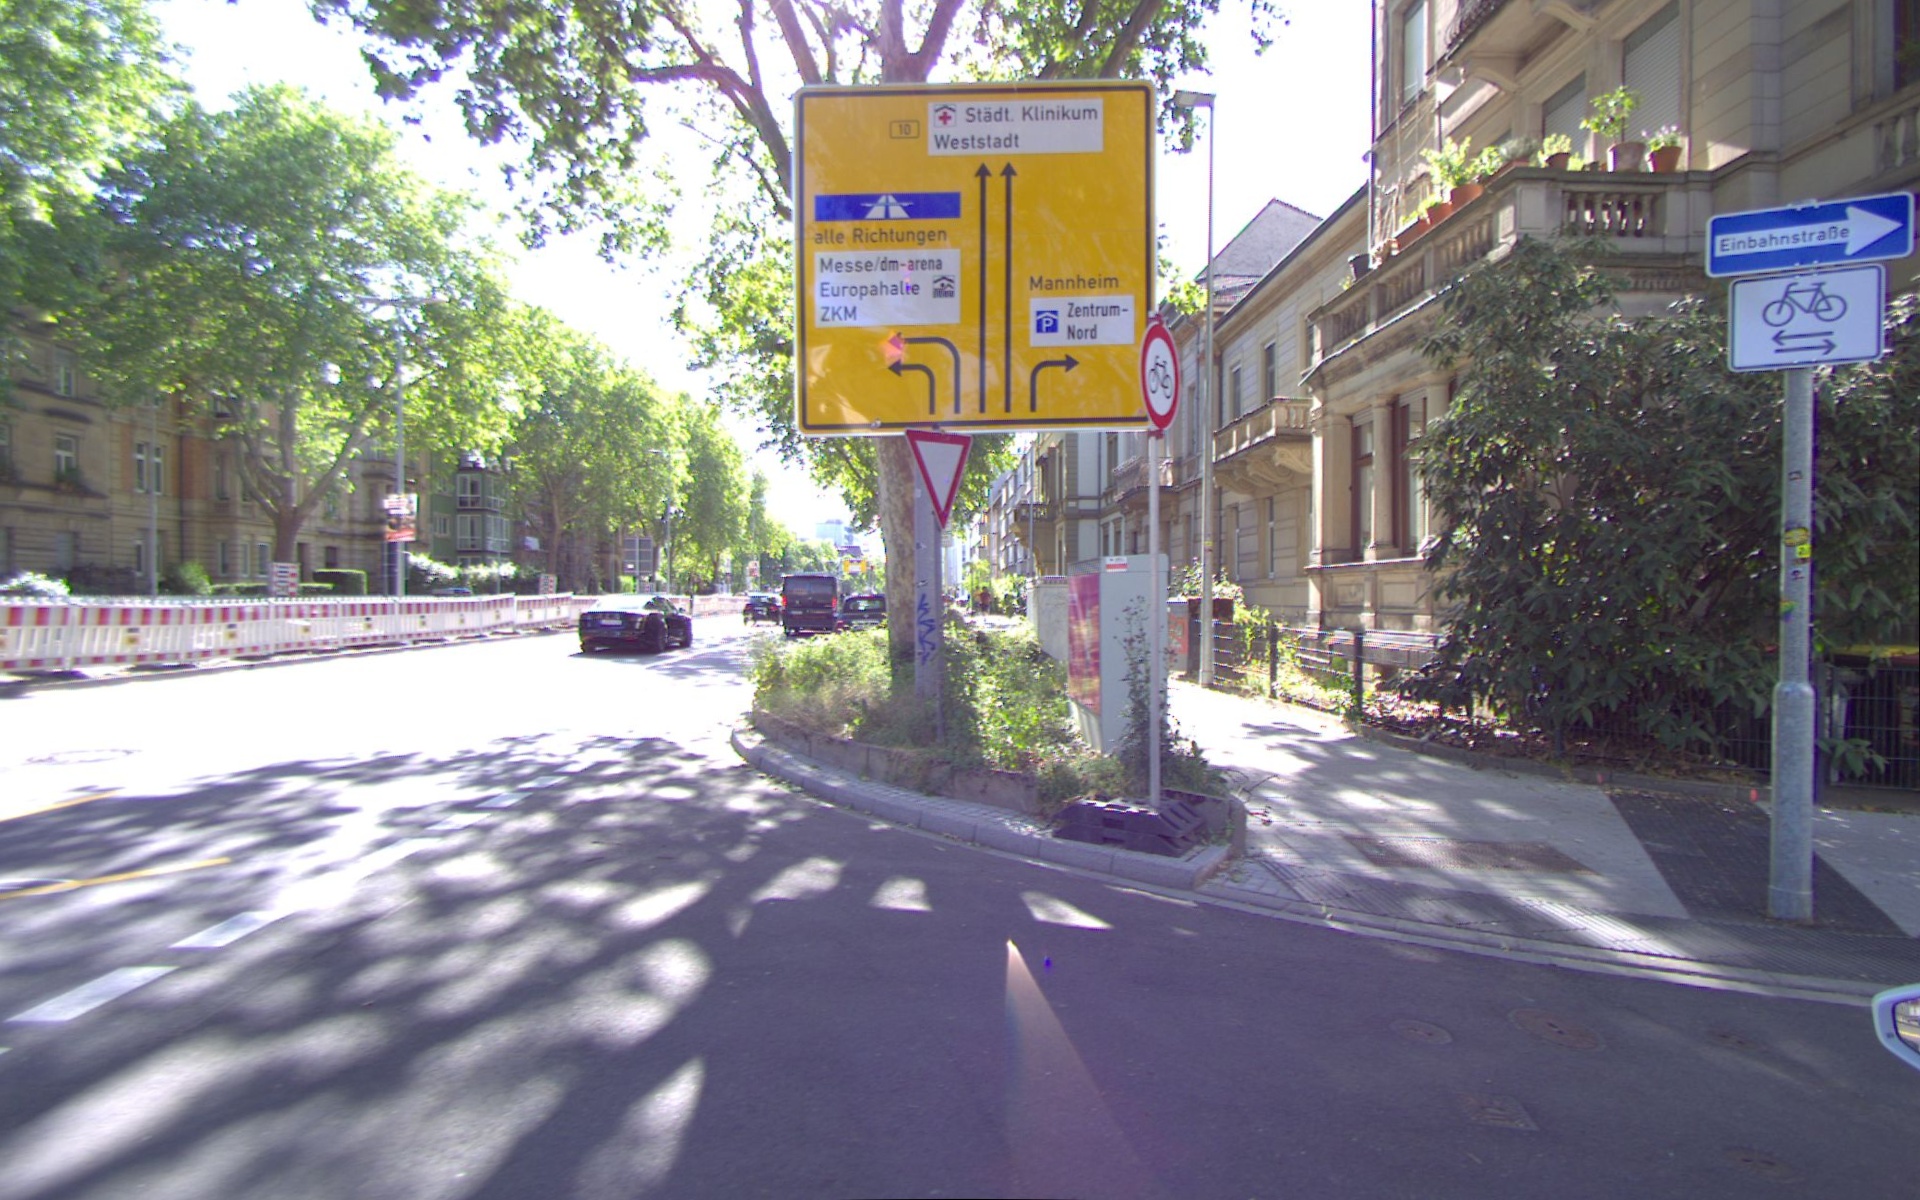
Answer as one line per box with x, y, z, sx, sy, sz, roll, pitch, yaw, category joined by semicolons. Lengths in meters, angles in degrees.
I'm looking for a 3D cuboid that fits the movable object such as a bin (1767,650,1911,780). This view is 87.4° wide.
7.051;0.904;8.078;0.676;0.983;0.548;0;0;0;movable object such as a bin

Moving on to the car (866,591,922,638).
-2.299;0.504;36.030;1.743;1.589;4.000;0;0;0;car

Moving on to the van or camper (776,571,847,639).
-5.538;0.159;37.909;2.209;2.377;4.535;1;0;-3;van or camper

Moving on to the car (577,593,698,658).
-8.176;0.595;25.894;1.808;1.503;4.475;1;0;-2;car

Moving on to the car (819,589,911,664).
-2.123;0.564;23.430;1.743;1.589;4.000;0;0;0;car

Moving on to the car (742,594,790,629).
-8.830;0.492;45.960;1.593;1.505;3.733;1;0;-2;car

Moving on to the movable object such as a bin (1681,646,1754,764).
6.542;0.898;8.686;0.338;0.983;0.382;0;0;1;movable object such as a bin

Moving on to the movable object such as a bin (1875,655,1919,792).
7.310;0.917;7.468;0.510;0.983;0.548;0;0;0;movable object such as a bin
